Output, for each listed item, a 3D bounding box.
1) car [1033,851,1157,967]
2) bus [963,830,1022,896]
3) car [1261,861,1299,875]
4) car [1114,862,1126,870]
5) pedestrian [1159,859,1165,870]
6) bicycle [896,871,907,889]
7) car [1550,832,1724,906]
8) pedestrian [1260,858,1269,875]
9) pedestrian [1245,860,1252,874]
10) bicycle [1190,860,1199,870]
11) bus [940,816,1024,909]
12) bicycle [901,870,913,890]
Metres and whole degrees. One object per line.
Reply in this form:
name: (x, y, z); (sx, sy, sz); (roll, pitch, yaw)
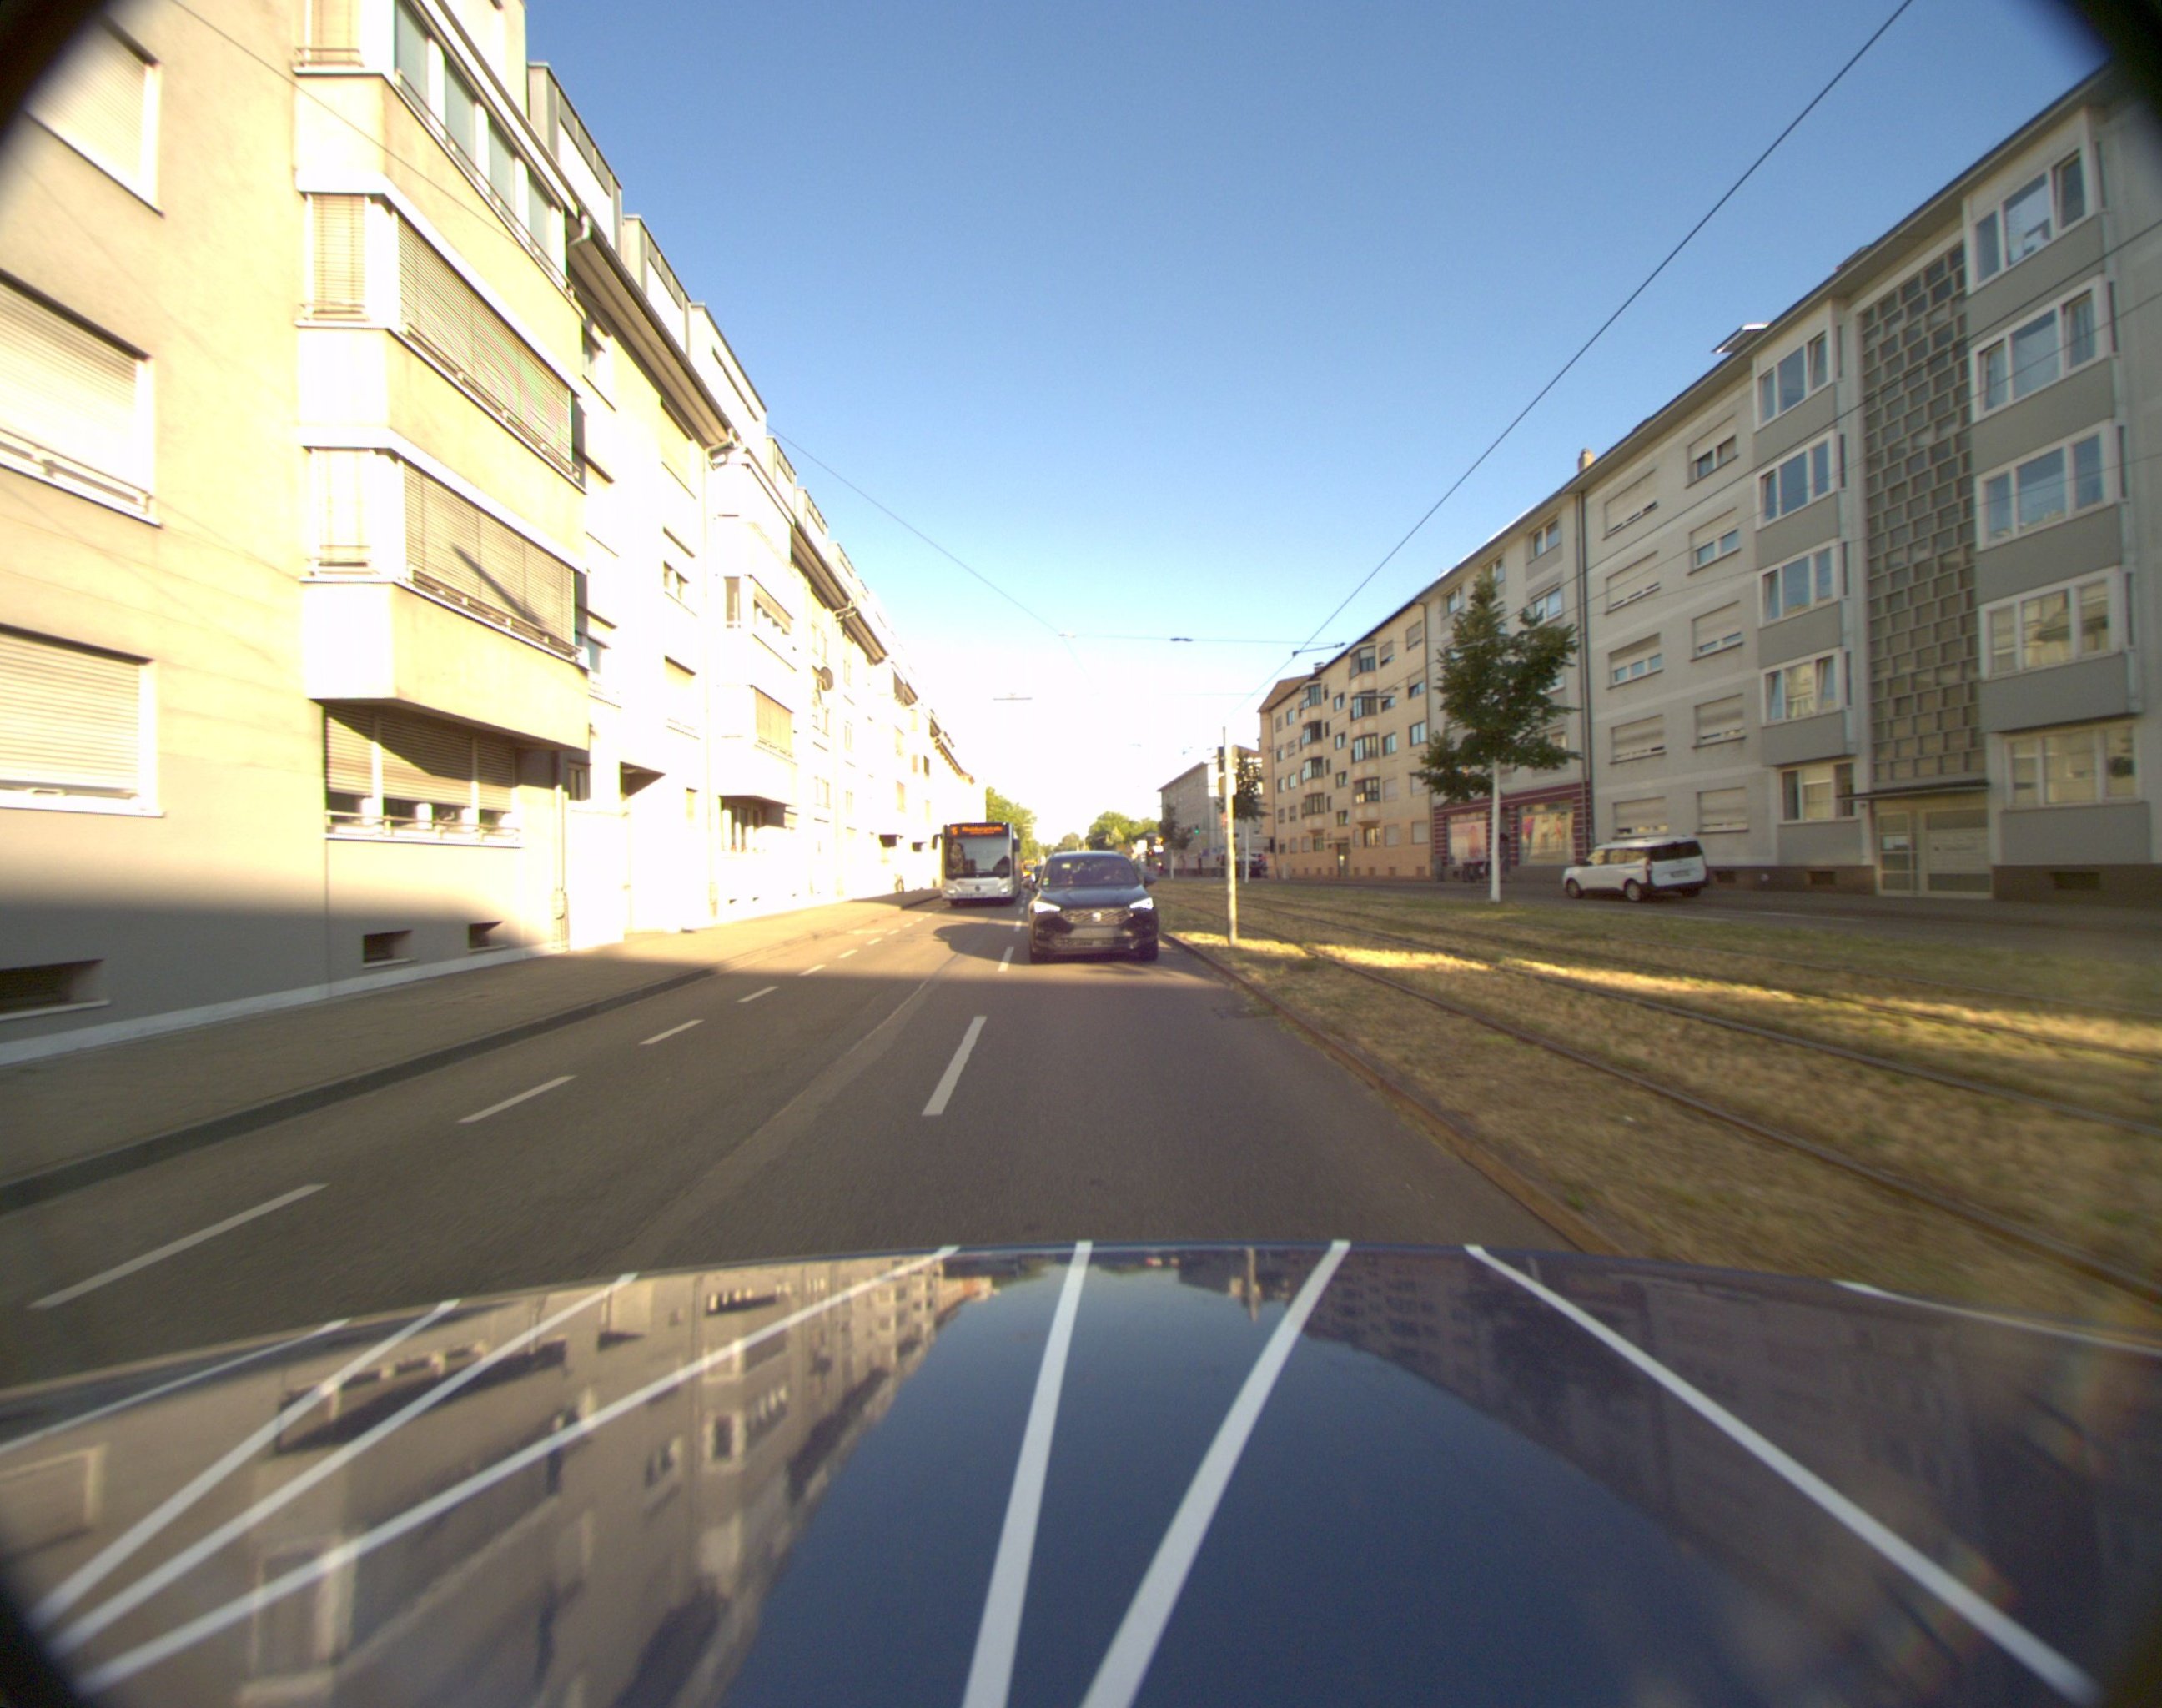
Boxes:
car: (0.160, 0.809, 13.371); (1.788, 1.615, 4.215); (-2, 1, -1)
bus: (-4.678, 0.495, 41.514); (2.713, 3.059, 10.596); (-1, -1, -5)
car: (23.831, 1.697, 91.065); (3.999, 1.499, 1.999); (-1, 0, -7)
car: (7.723, 2.349, 151.987); (1.922, 1.581, 4.468); (-1, -1, -3)
pedestrian: (13.041, 1.642, 122.356); (0.742, 1.730, 1.226); (-1, 0, -4)
bicycle: (-9.905, 1.434, 41.876); (0.279, 0.965, 1.729); (2, -1, -4)
car: (16.863, 0.444, 23.397); (1.871, 1.818, 4.421); (-8, 0, -1)
pedestrian: (19.438, 1.287, 80.436); (0.634, 1.760, 0.826); (-1, 0, 27)
pedestrian: (18.000, 1.437, 81.726); (0.624, 1.481, 0.582); (-1, 1, -4)
bicycle: (16.171, 1.587, 108.123); (0.580, 1.370, 3.236); (-1, 0, -4)
bus: (-3.778, 0.353, 30.939); (2.732, 3.059, 10.596); (-1, -1, -5)
bicycle: (-9.468, 1.412, 41.398); (0.361, 1.026, 1.729); (2, -1, -4)
